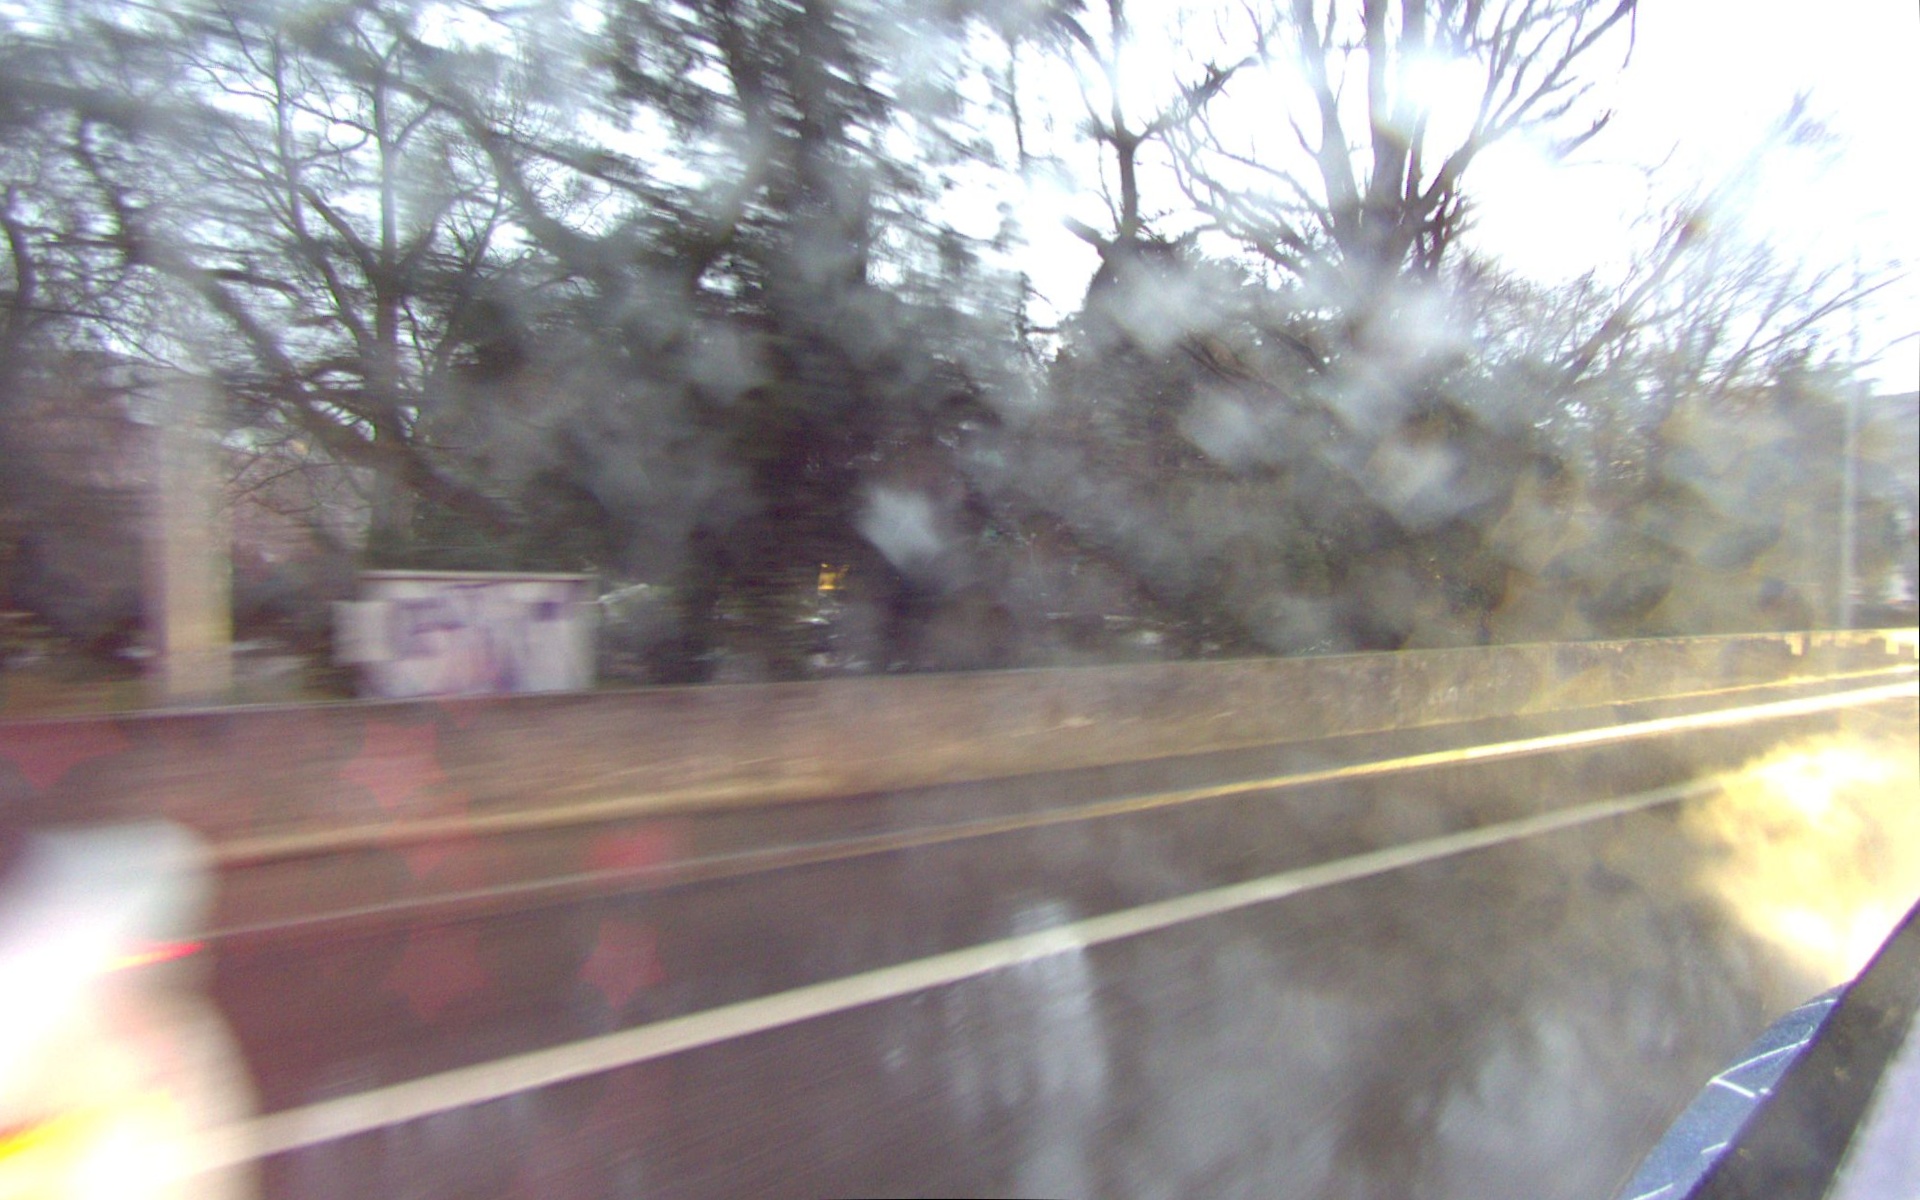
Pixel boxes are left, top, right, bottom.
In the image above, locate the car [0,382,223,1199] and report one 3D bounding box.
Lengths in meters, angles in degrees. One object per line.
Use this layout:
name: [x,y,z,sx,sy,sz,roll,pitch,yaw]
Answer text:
car: [-3.258,0.599,0.271,4.842,1.575,1.870,0,1,-33]
